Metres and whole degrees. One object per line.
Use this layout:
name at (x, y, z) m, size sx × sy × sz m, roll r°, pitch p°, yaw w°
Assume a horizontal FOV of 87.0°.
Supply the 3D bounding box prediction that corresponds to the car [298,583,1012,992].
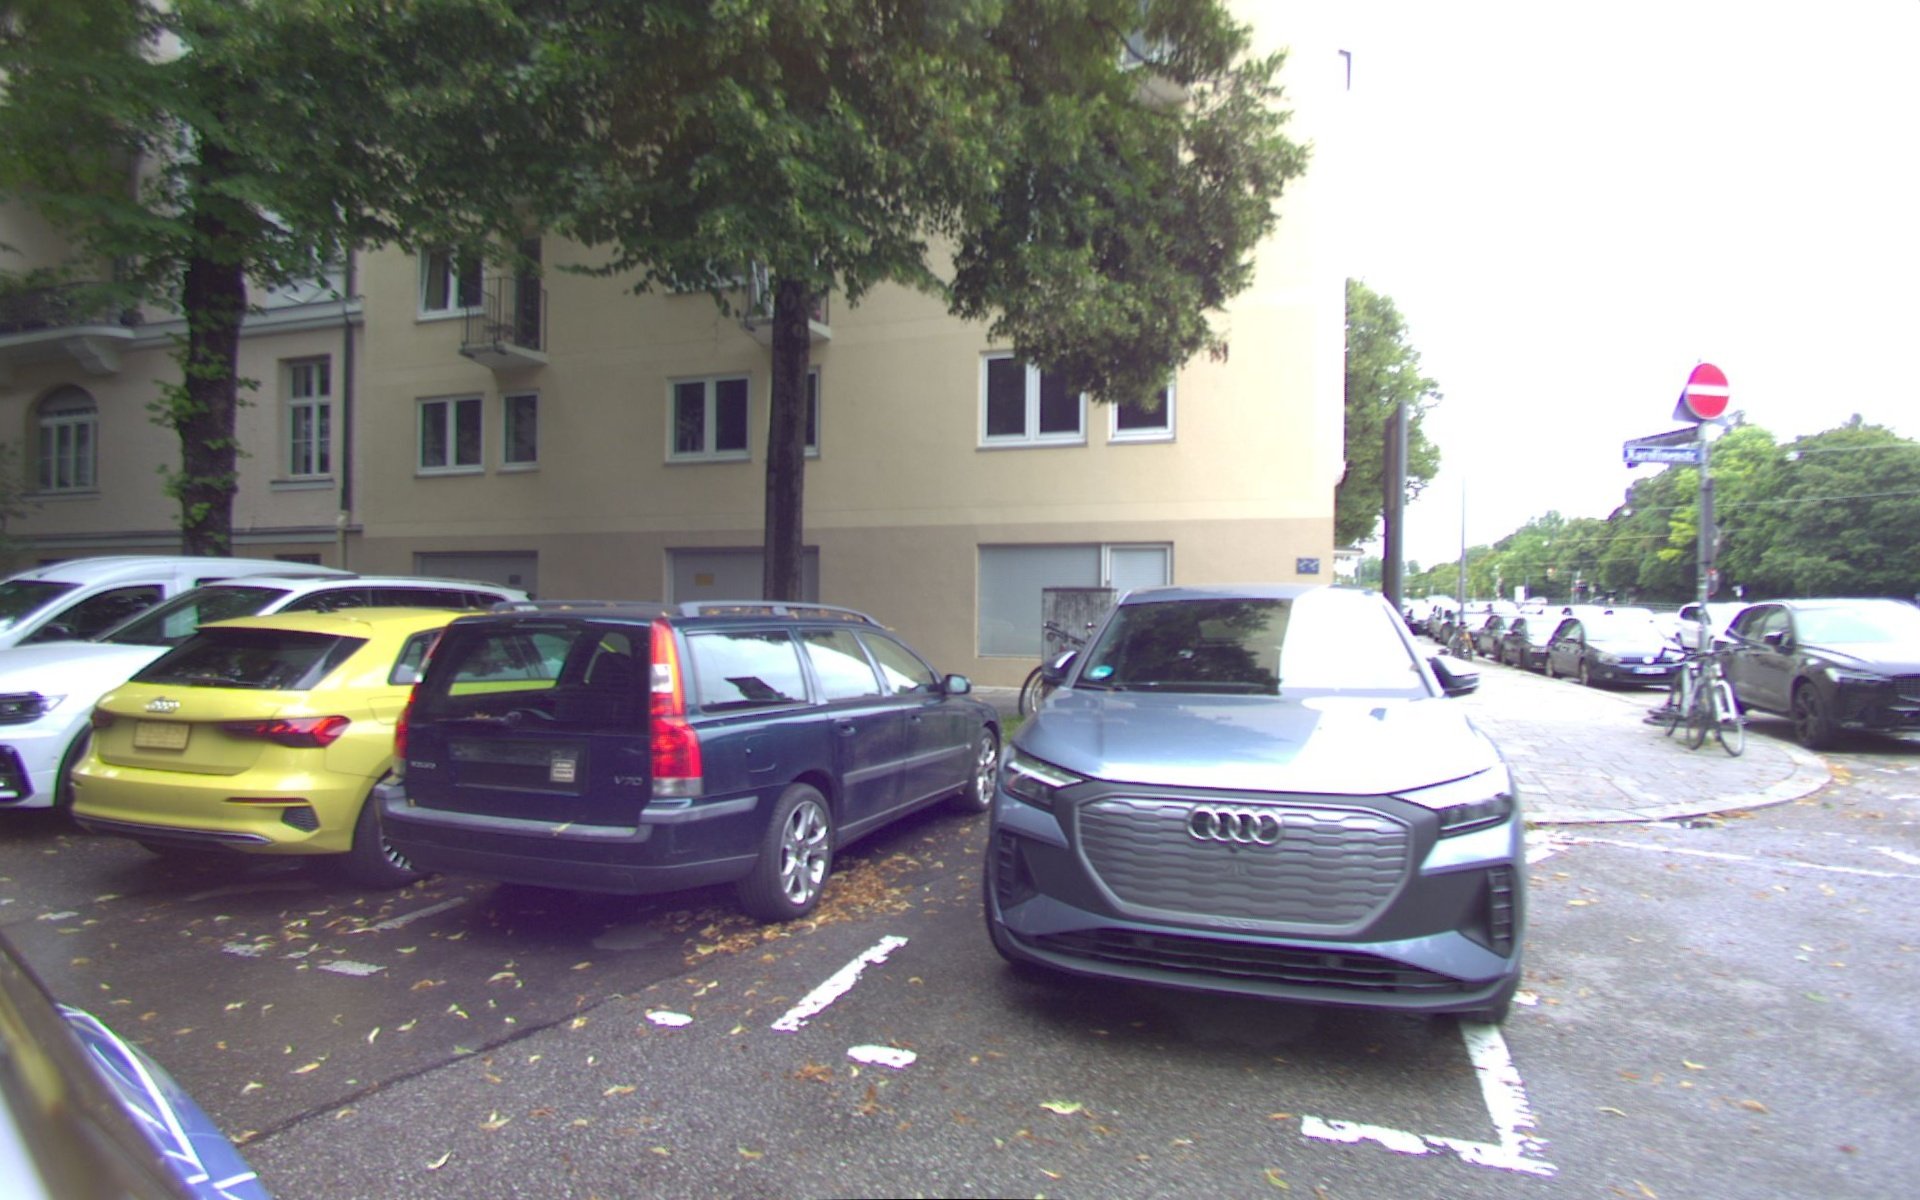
car at (-1.213, 0.683, 5.998) m, size 2.038 × 1.478 × 4.220 m, roll 0°, pitch 0°, yaw 18°

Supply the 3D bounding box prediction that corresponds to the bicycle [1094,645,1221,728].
bicycle at (1.839, 0.797, 9.451) m, size 1.141 × 0.713 × 0.280 m, roll 0°, pitch 0°, yaw 20°

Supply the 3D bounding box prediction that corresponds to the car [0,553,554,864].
car at (-5.287, 0.573, 7.626) m, size 1.902 × 1.632 × 4.220 m, roll 0°, pitch 0°, yaw 18°

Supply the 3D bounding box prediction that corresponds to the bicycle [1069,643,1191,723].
bicycle at (1.646, 0.795, 9.838) m, size 1.141 × 0.713 × 0.280 m, roll 0°, pitch 0°, yaw 20°

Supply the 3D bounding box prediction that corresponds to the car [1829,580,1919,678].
car at (21.386, 0.614, 22.288) m, size 1.983 × 2.029 × 3.977 m, roll 0°, pitch 0°, yaw 18°

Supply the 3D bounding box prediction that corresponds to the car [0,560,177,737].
car at (-9.814, 0.435, 8.968) m, size 1.903 × 1.611 × 4.219 m, roll 0°, pitch 0°, yaw 19°

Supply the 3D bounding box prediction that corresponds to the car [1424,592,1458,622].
car at (37.683, 0.541, 79.340) m, size 1.843 × 2.227 × 4.526 m, roll 0°, pitch 0°, yaw 18°

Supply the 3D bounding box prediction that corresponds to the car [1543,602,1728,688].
car at (13.729, 0.856, 20.912) m, size 2.115 × 1.577 × 4.477 m, roll -1°, pitch -1°, yaw 20°

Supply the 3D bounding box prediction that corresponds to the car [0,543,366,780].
car at (-7.730, 0.462, 8.803) m, size 1.903 × 1.764 × 4.219 m, roll 0°, pitch 0°, yaw 19°

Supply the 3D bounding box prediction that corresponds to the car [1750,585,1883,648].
car at (36.127, 0.626, 42.907) m, size 2.172 × 2.482 × 5.818 m, roll 0°, pitch 1°, yaw 17°

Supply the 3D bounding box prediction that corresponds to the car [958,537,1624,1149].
car at (1.495, 0.630, 4.912) m, size 1.811 × 1.577 × 4.220 m, roll 0°, pitch 0°, yaw 18°

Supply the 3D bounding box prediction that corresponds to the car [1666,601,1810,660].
car at (24.745, 0.915, 32.452) m, size 2.059 × 1.715 × 5.060 m, roll 0°, pitch 0°, yaw 18°

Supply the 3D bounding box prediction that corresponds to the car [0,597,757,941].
car at (-3.221, 0.734, 6.676) m, size 1.902 × 1.478 × 4.220 m, roll 0°, pitch 0°, yaw 18°

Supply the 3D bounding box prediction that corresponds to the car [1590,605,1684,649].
car at (28.169, 1.084, 42.291) m, size 2.059 × 1.715 × 4.532 m, roll 0°, pitch -1°, yaw 18°

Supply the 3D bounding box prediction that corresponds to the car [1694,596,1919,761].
car at (10.465, 0.765, 11.685) m, size 2.116 × 1.577 × 4.474 m, roll -2°, pitch -1°, yaw 22°

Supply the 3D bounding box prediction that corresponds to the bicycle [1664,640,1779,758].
bicycle at (7.803, 0.971, 10.436) m, size 0.630 × 1.045 × 1.719 m, roll 1°, pitch 0°, yaw 27°
